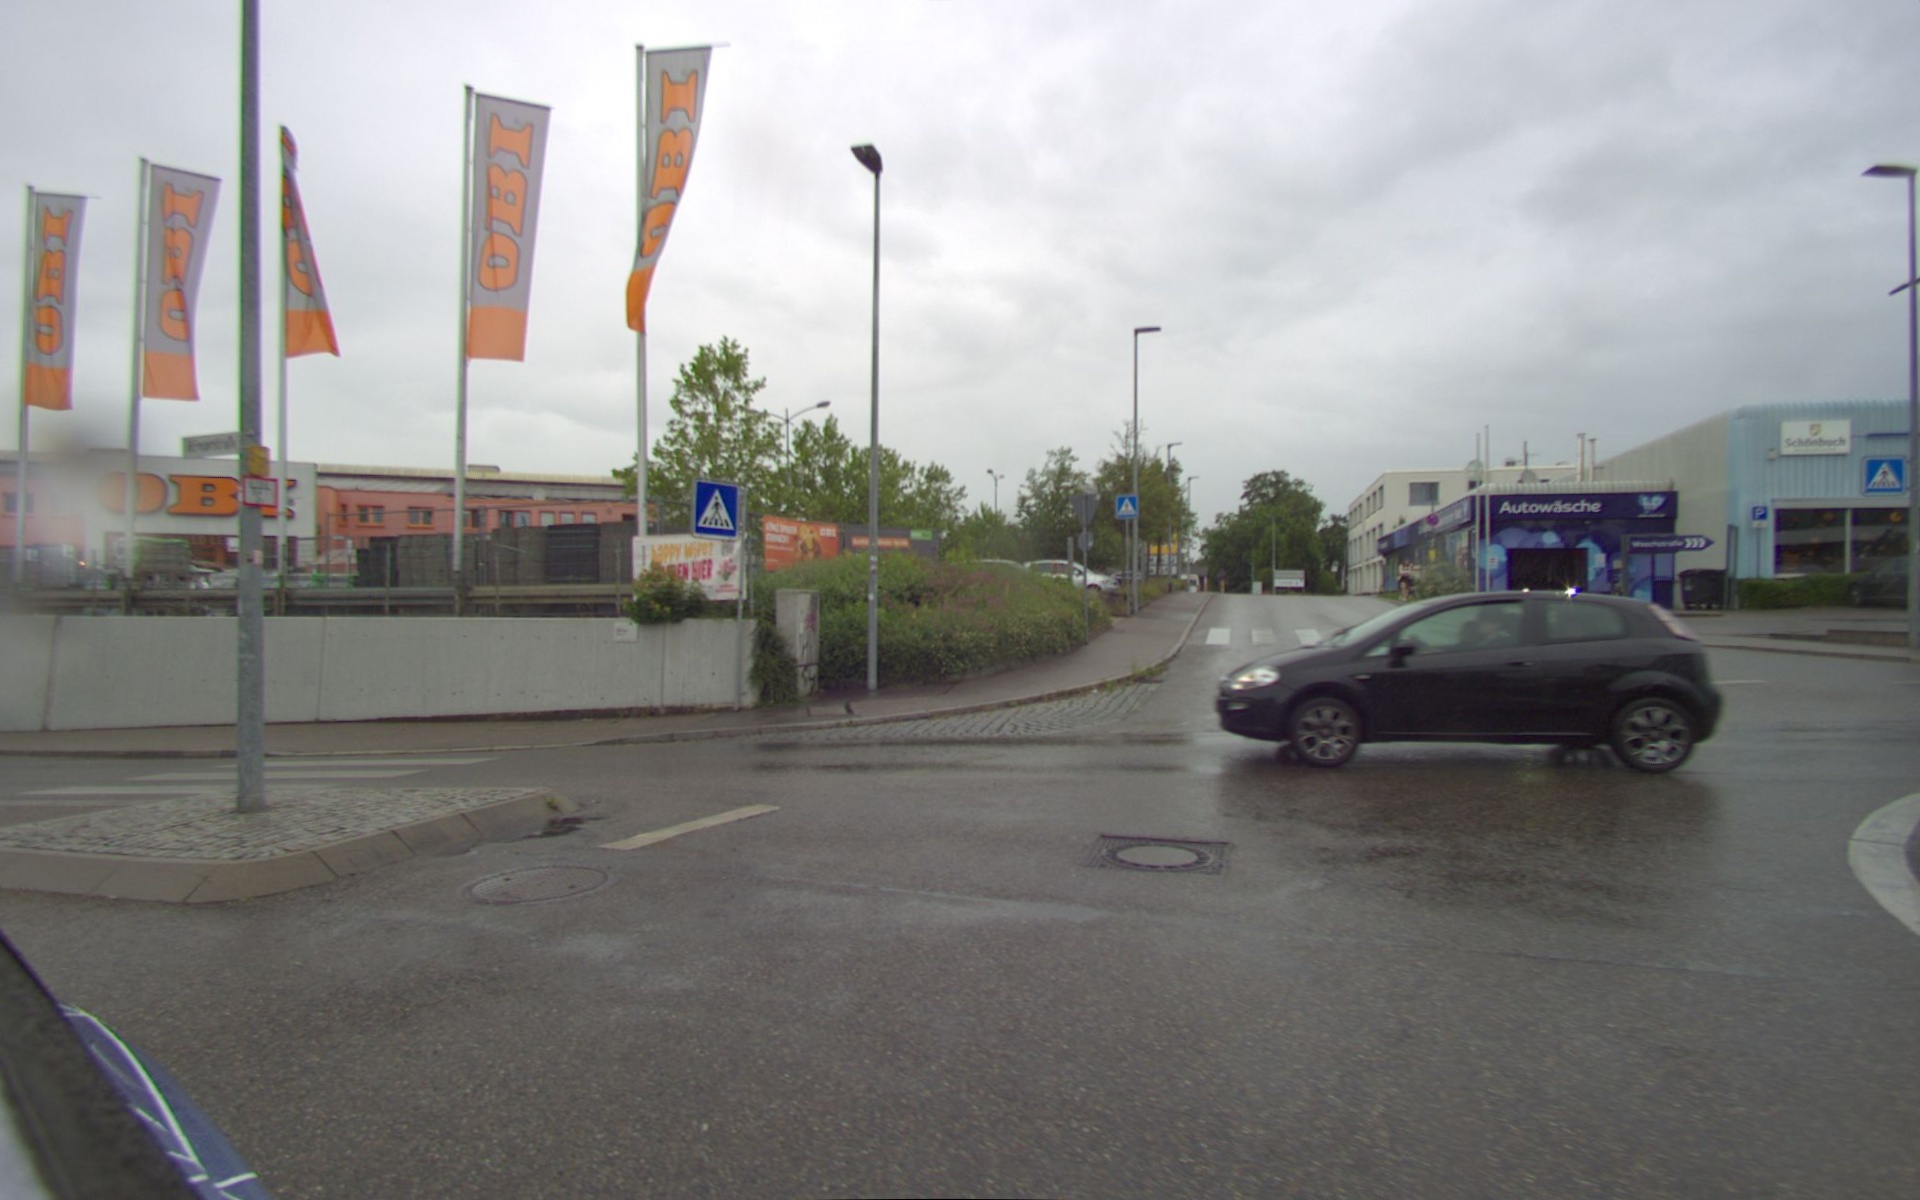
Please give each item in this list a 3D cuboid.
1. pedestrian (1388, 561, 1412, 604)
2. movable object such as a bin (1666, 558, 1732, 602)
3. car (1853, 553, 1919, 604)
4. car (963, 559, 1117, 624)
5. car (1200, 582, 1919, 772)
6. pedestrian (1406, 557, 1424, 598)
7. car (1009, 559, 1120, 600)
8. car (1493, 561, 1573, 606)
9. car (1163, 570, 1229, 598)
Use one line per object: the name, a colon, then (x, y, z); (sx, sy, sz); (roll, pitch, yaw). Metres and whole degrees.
pedestrian: (16.116, -0.651, 37.075); (0.599, 1.542, 0.771); (-3, 1, 16)
movable object such as a bin: (23.602, -0.621, 32.366); (1.204, 1.305, 1.470); (-4, -1, 17)
car: (25.722, -0.608, 26.542); (1.872, 1.305, 3.978); (-4, -1, 17)
car: (2.332, -0.212, 29.307); (4.076, 1.719, 1.986); (-1, -1, 21)
car: (4.870, 0.614, 9.015); (5.292, 1.393, 1.991); (-1, 0, 15)
pedestrian: (16.633, -0.827, 36.979); (0.463, 1.475, 0.545); (-3, 1, 16)
car: (4.074, -0.770, 39.313); (3.967, 1.453, 1.988); (-1, -1, 18)
car: (21.915, -0.597, 38.862); (1.906, 1.541, 3.975); (-3, -1, 19)
car: (15.178, -1.007, 65.070); (3.967, 1.608, 1.988); (-1, -1, 18)
